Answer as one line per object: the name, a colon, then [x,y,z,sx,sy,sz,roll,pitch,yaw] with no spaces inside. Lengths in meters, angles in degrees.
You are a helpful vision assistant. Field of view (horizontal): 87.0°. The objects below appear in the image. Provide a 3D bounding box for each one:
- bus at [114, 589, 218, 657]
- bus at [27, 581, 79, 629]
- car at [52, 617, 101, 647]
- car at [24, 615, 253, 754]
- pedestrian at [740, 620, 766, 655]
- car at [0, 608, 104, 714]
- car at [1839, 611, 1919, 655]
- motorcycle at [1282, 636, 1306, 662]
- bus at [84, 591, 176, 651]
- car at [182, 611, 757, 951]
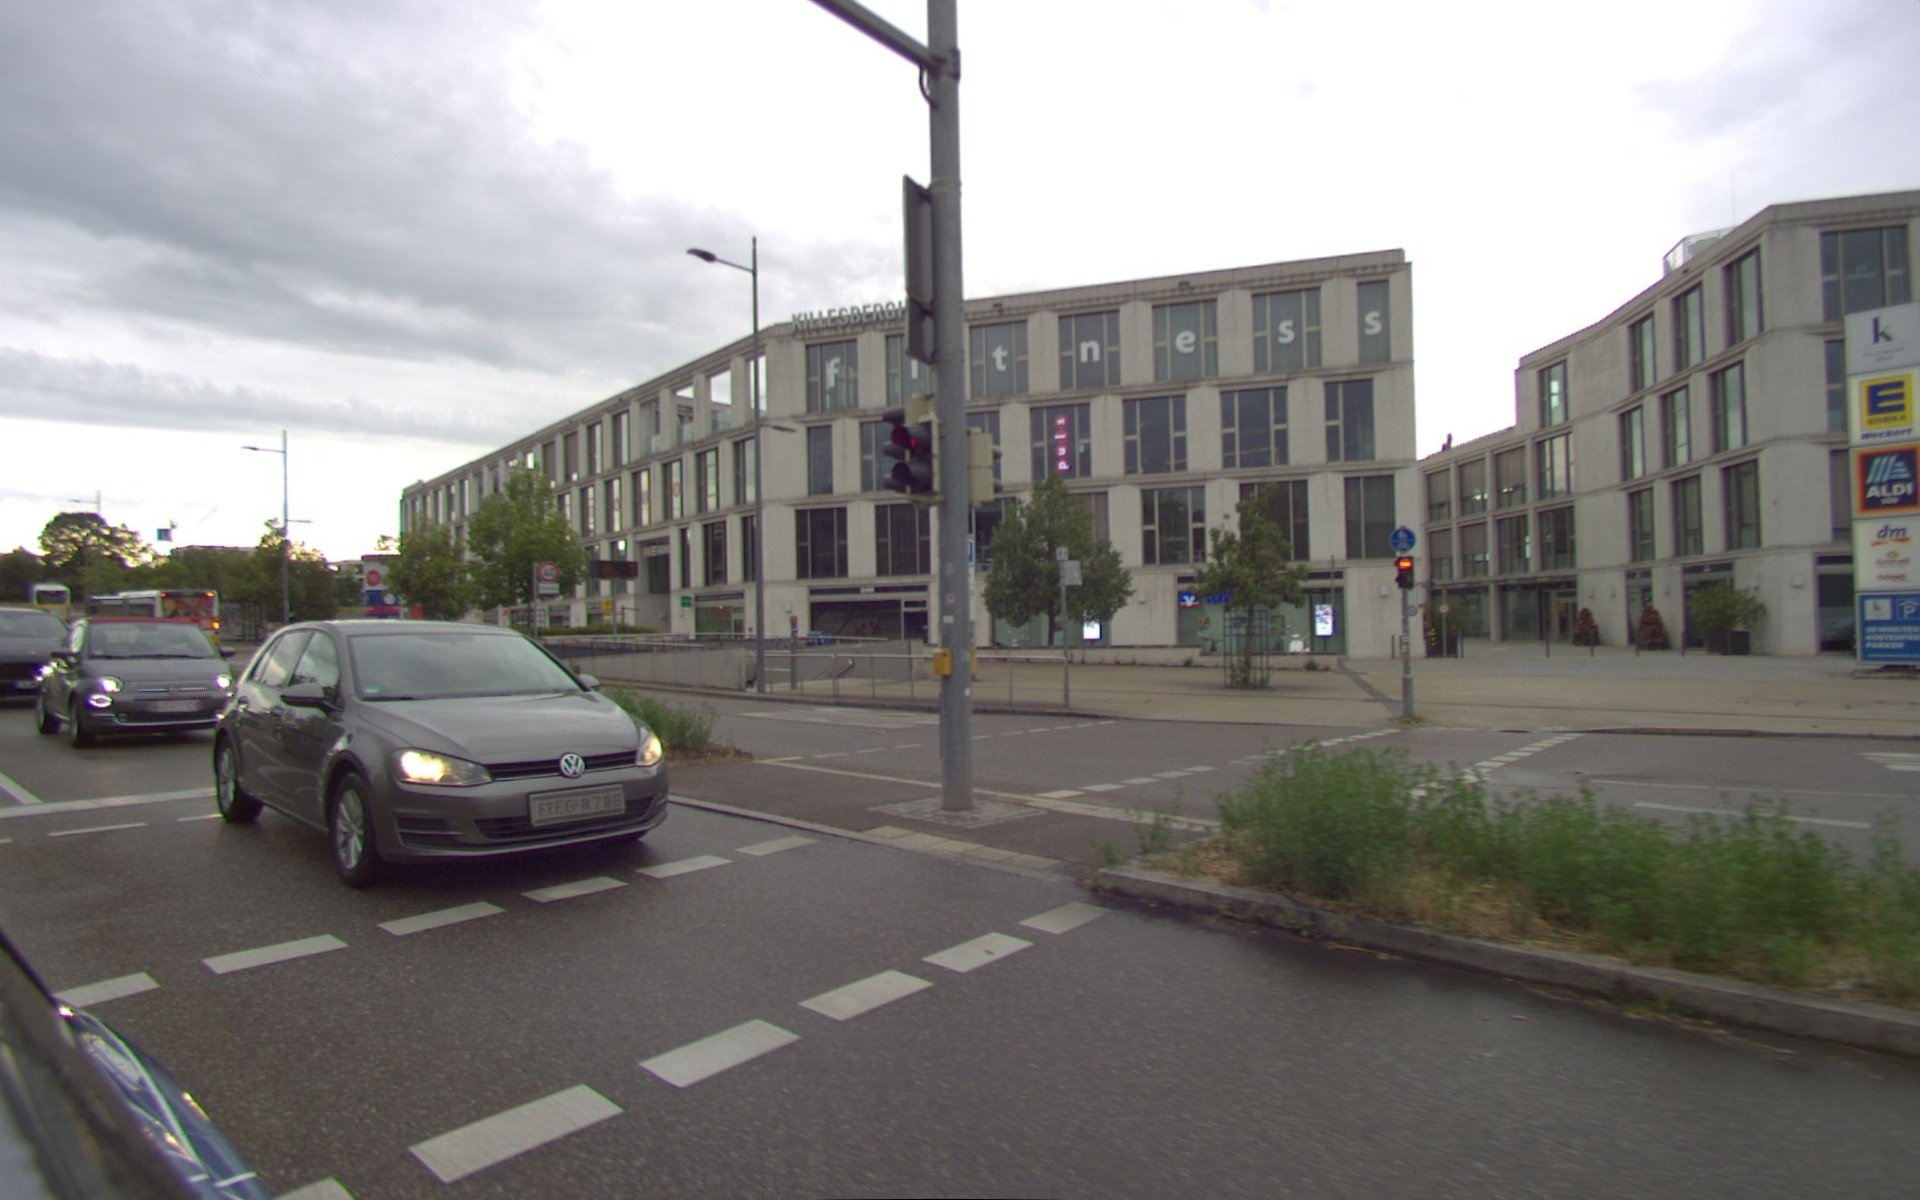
bus: [-41.117,1.115,52.262,9.205,3.236,2.723,-1,0,42]
bus: [-86.690,0.519,96.980,2.717,4.185,19.381,-1,0,-39]
car: [-57.377,2.058,65.707,3.998,1.800,1.844,-1,0,41]
car: [-10.365,0.946,12.699,3.504,1.492,1.610,-1,-1,40]
pedestrian: [-9.632,1.742,47.089,0.907,1.617,0.760,-1,-1,18]
car: [-16.754,0.998,17.662,4.612,1.671,1.910,-1,-1,38]
car: [32.976,1.119,34.522,3.967,1.475,1.988,-1,-1,18]
motorcycle: [10.354,1.503,31.432,0.517,0.746,1.098,-1,0,9]
bus: [-48.180,1.195,58.627,9.910,3.205,2.658,-1,0,42]
car: [-3.398,0.837,6.586,4.374,1.492,1.797,-1,-1,41]
